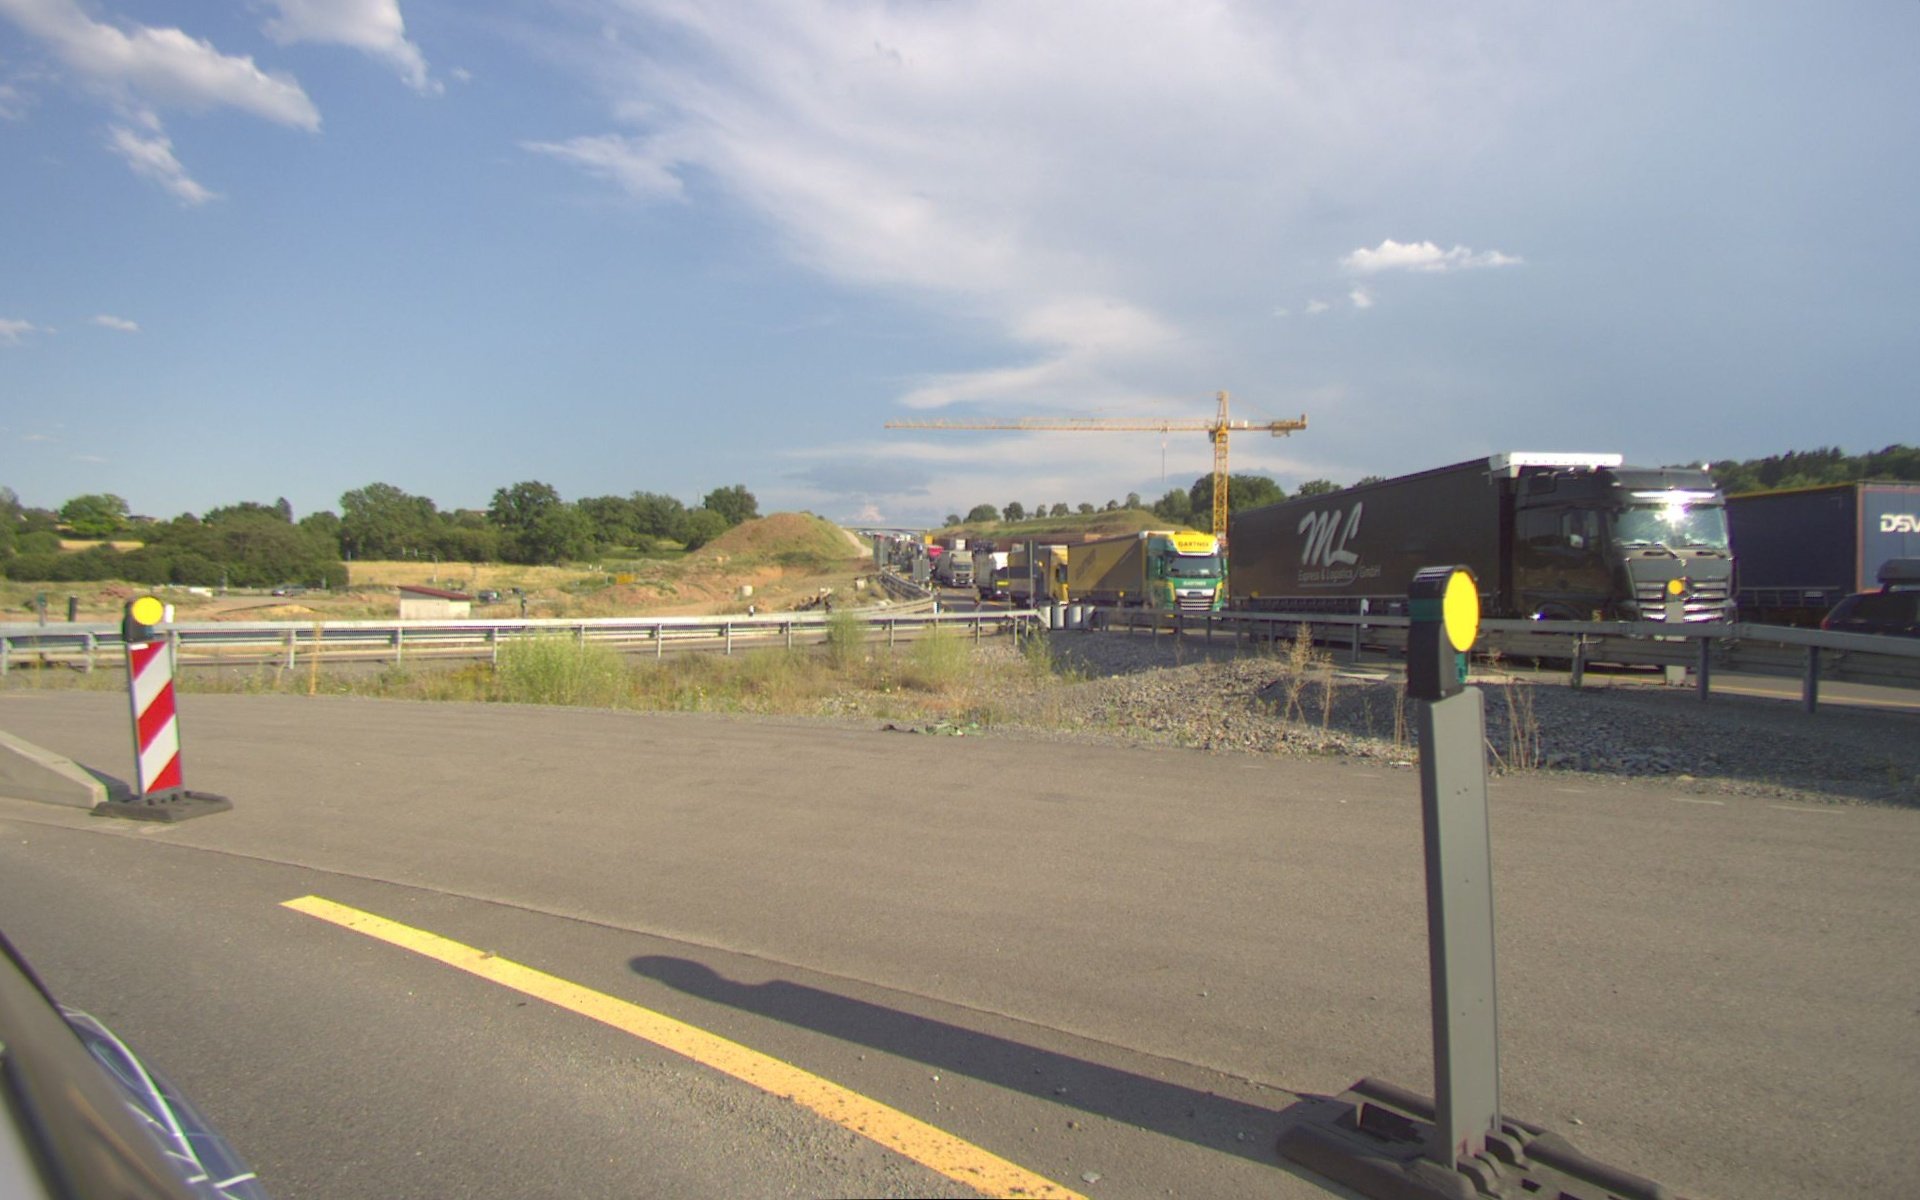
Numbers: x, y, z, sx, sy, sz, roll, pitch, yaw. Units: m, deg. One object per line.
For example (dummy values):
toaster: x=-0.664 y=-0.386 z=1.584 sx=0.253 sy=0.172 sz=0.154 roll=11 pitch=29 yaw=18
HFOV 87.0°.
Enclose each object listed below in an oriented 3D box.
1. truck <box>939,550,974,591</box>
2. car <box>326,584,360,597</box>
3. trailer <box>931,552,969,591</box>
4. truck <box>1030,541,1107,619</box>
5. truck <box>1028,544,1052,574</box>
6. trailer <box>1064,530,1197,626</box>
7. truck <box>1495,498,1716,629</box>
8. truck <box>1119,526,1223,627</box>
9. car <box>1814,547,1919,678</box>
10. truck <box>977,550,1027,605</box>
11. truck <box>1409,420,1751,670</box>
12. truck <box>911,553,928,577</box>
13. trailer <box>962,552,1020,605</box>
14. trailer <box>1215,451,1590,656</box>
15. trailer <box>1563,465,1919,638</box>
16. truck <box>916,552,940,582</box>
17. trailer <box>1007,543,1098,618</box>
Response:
truck: x=-0.454 y=-3.274 z=114.984 sx=3.065 sy=4.346 sz=6.906 roll=2 pitch=0 yaw=-6
car: x=-82.895 y=-1.281 z=136.021 sx=1.692 sy=1.530 sz=4.515 roll=3 pitch=0 yaw=0
trailer: x=-1.332 y=-3.326 z=122.791 sx=3.065 sy=4.346 sz=14.273 roll=2 pitch=0 yaw=-7
truck: x=6.438 y=-1.168 z=61.267 sx=3.065 sy=4.346 sz=6.906 roll=2 pitch=0 yaw=-6
truck: x=13.689 y=-7.006 z=174.337 sx=3.525 sy=4.445 sz=13.165 roll=2 pitch=0 yaw=2
trailer: x=7.839 y=-0.957 z=49.171 sx=2.449 sy=3.988 sz=13.998 roll=0 pitch=0 yaw=-7
truck: x=20.461 y=-1.068 z=32.532 sx=2.959 sy=3.755 sz=5.697 roll=2 pitch=0 yaw=-7
truck: x=8.697 y=-0.914 z=42.505 sx=2.449 sy=3.931 sz=6.021 roll=0 pitch=0 yaw=-7
car: x=15.642 y=0.218 z=15.211 sx=1.502 sy=2.029 sz=4.339 roll=2 pitch=0 yaw=-8
truck: x=3.430 y=-1.811 z=85.272 sx=3.065 sy=4.346 sz=6.906 roll=2 pitch=0 yaw=-6
truck: x=11.548 y=-0.908 z=19.636 sx=2.450 sy=4.091 sz=6.020 roll=0 pitch=0 yaw=-6
truck: x=-7.375 y=-6.228 z=181.651 sx=2.485 sy=4.031 sz=8.563 roll=2 pitch=0 yaw=-5
trailer: x=2.598 y=-1.799 z=91.883 sx=3.065 sy=4.346 sz=14.273 roll=2 pitch=0 yaw=-7
trailer: x=10.606 y=-0.954 z=27.067 sx=2.449 sy=4.092 sz=13.654 roll=0 pitch=0 yaw=-8
trailer: x=21.039 y=-1.057 z=27.239 sx=2.970 sy=3.780 sz=9.584 roll=2 pitch=0 yaw=-6
truck: x=-4.969 y=-5.084 z=155.850 sx=3.065 sy=4.346 sz=6.906 roll=2 pitch=0 yaw=-6
trailer: x=5.817 y=-1.201 z=67.034 sx=3.065 sy=4.346 sz=14.273 roll=2 pitch=0 yaw=-7
